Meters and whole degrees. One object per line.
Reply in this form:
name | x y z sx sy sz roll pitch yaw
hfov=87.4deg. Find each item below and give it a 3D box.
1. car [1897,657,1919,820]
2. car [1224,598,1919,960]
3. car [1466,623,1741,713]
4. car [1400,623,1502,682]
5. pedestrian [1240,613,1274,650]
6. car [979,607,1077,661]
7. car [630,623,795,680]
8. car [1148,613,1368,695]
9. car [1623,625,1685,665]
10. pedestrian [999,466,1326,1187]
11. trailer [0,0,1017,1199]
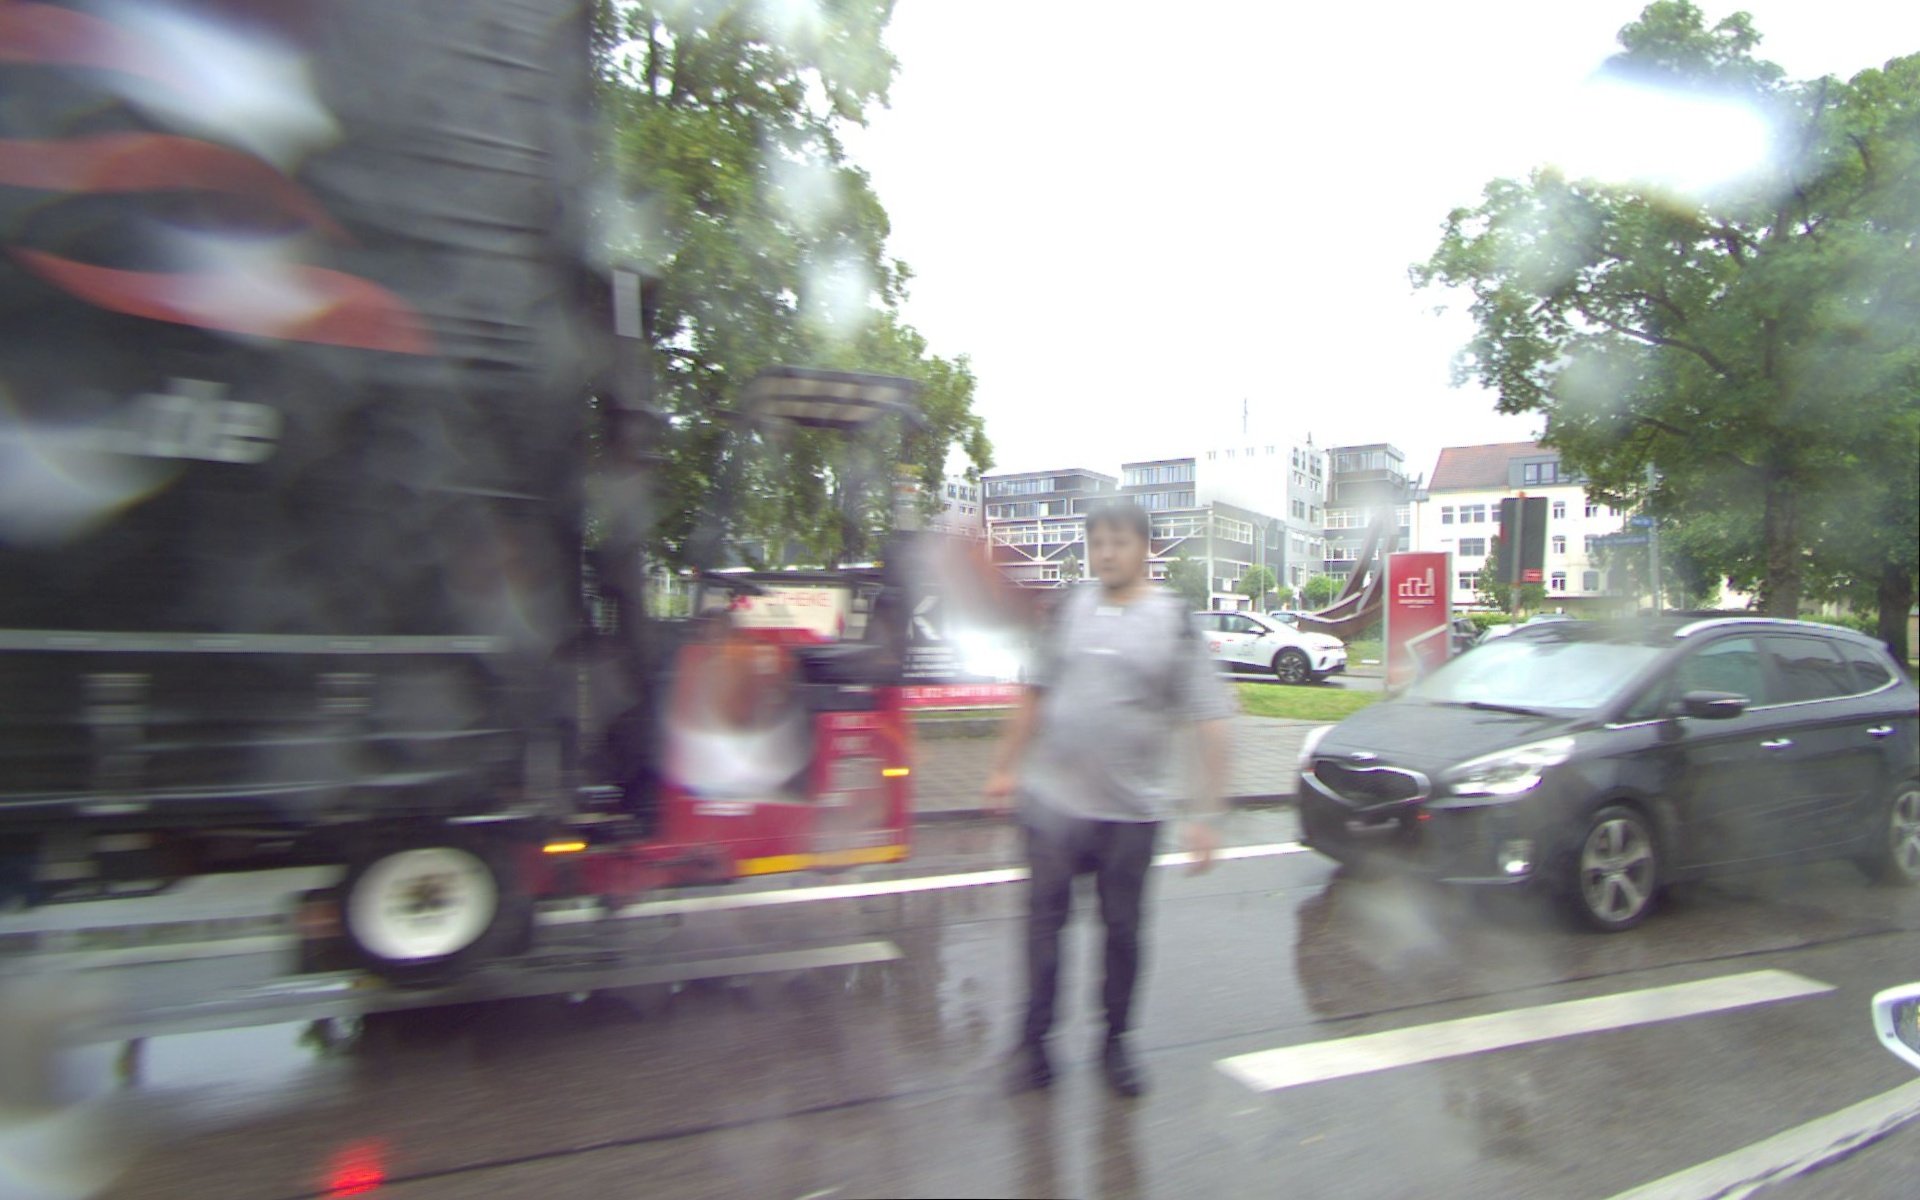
car | 10.377 1.170 8.621 4.273 1.379 1.724 1 -2 -21
car | 4.202 0.941 6.330 4.733 1.640 1.864 3 -2 -22
car | 12.299 1.215 19.356 4.271 1.414 2.005 1 0 37
car | 13.922 1.426 28.351 1.762 1.529 4.283 -2 -2 37
pedestrian | 15.062 1.601 50.927 1.471 1.864 1.056 1 -1 -42
car | 3.014 1.428 43.413 1.967 2.180 4.957 0 -1 36
car | -6.514 1.320 26.850 1.597 1.397 4.294 -1 -2 36
car | 6.944 1.196 23.624 4.575 1.729 2.038 0 -1 38
car | 29.815 1.894 43.119 1.776 1.604 3.981 -1 -2 40
pedestrian | 0.628 0.600 3.187 0.853 1.868 0.993 0 -1 12
trailer | -7.277 -0.625 2.173 14.834 4.102 3.435 1 -2 -23
